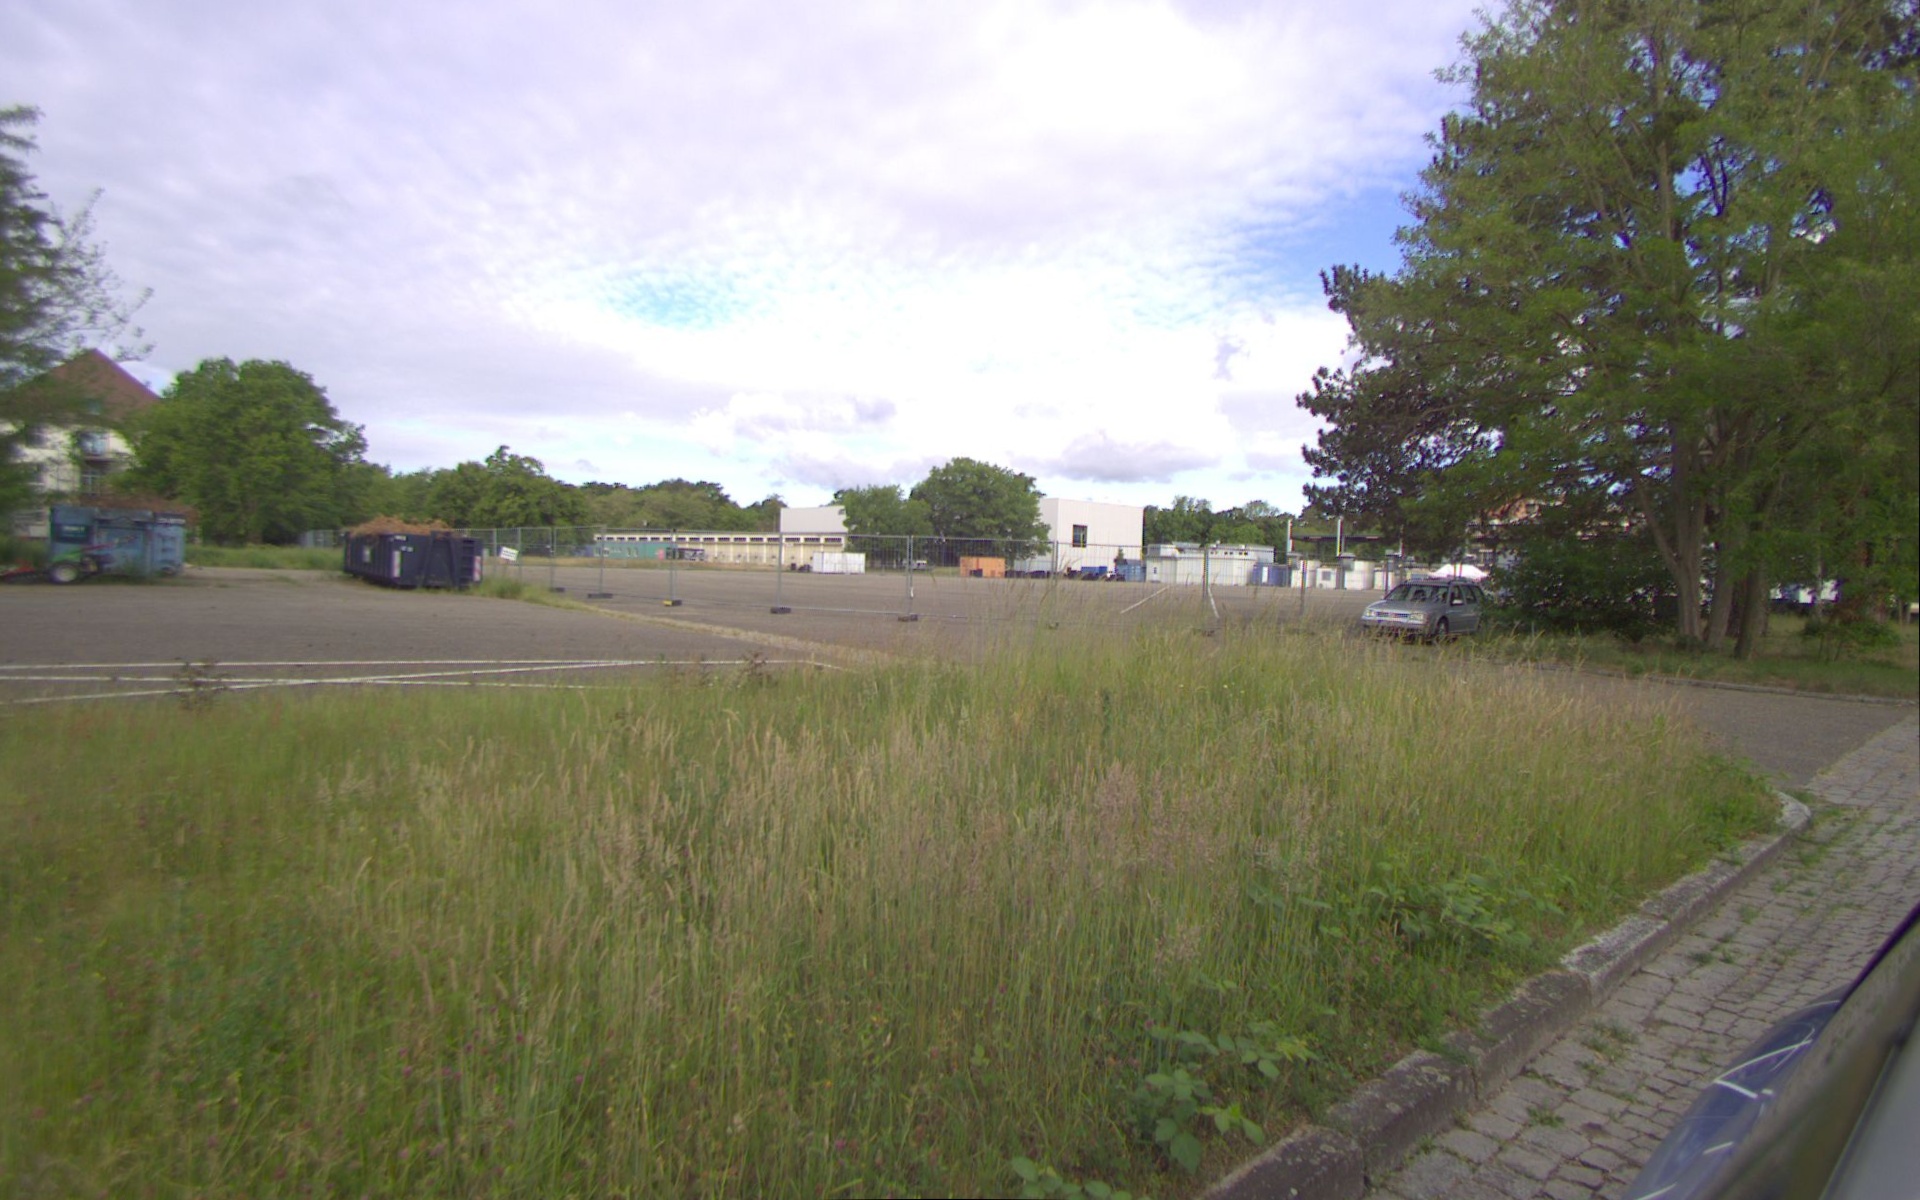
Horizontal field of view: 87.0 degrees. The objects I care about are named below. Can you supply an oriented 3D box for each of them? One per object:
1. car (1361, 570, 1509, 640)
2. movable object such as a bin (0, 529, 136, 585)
[{"bbox_3d":[11.273,0.068,23.893,4.415,1.468,1.676,-1,3,-44],"label":"car"},{"bbox_3d":[-19.579,-0.916,22.222,0.958,1.148,2.181,1,1,40],"label":"movable object such as a bin"}]
